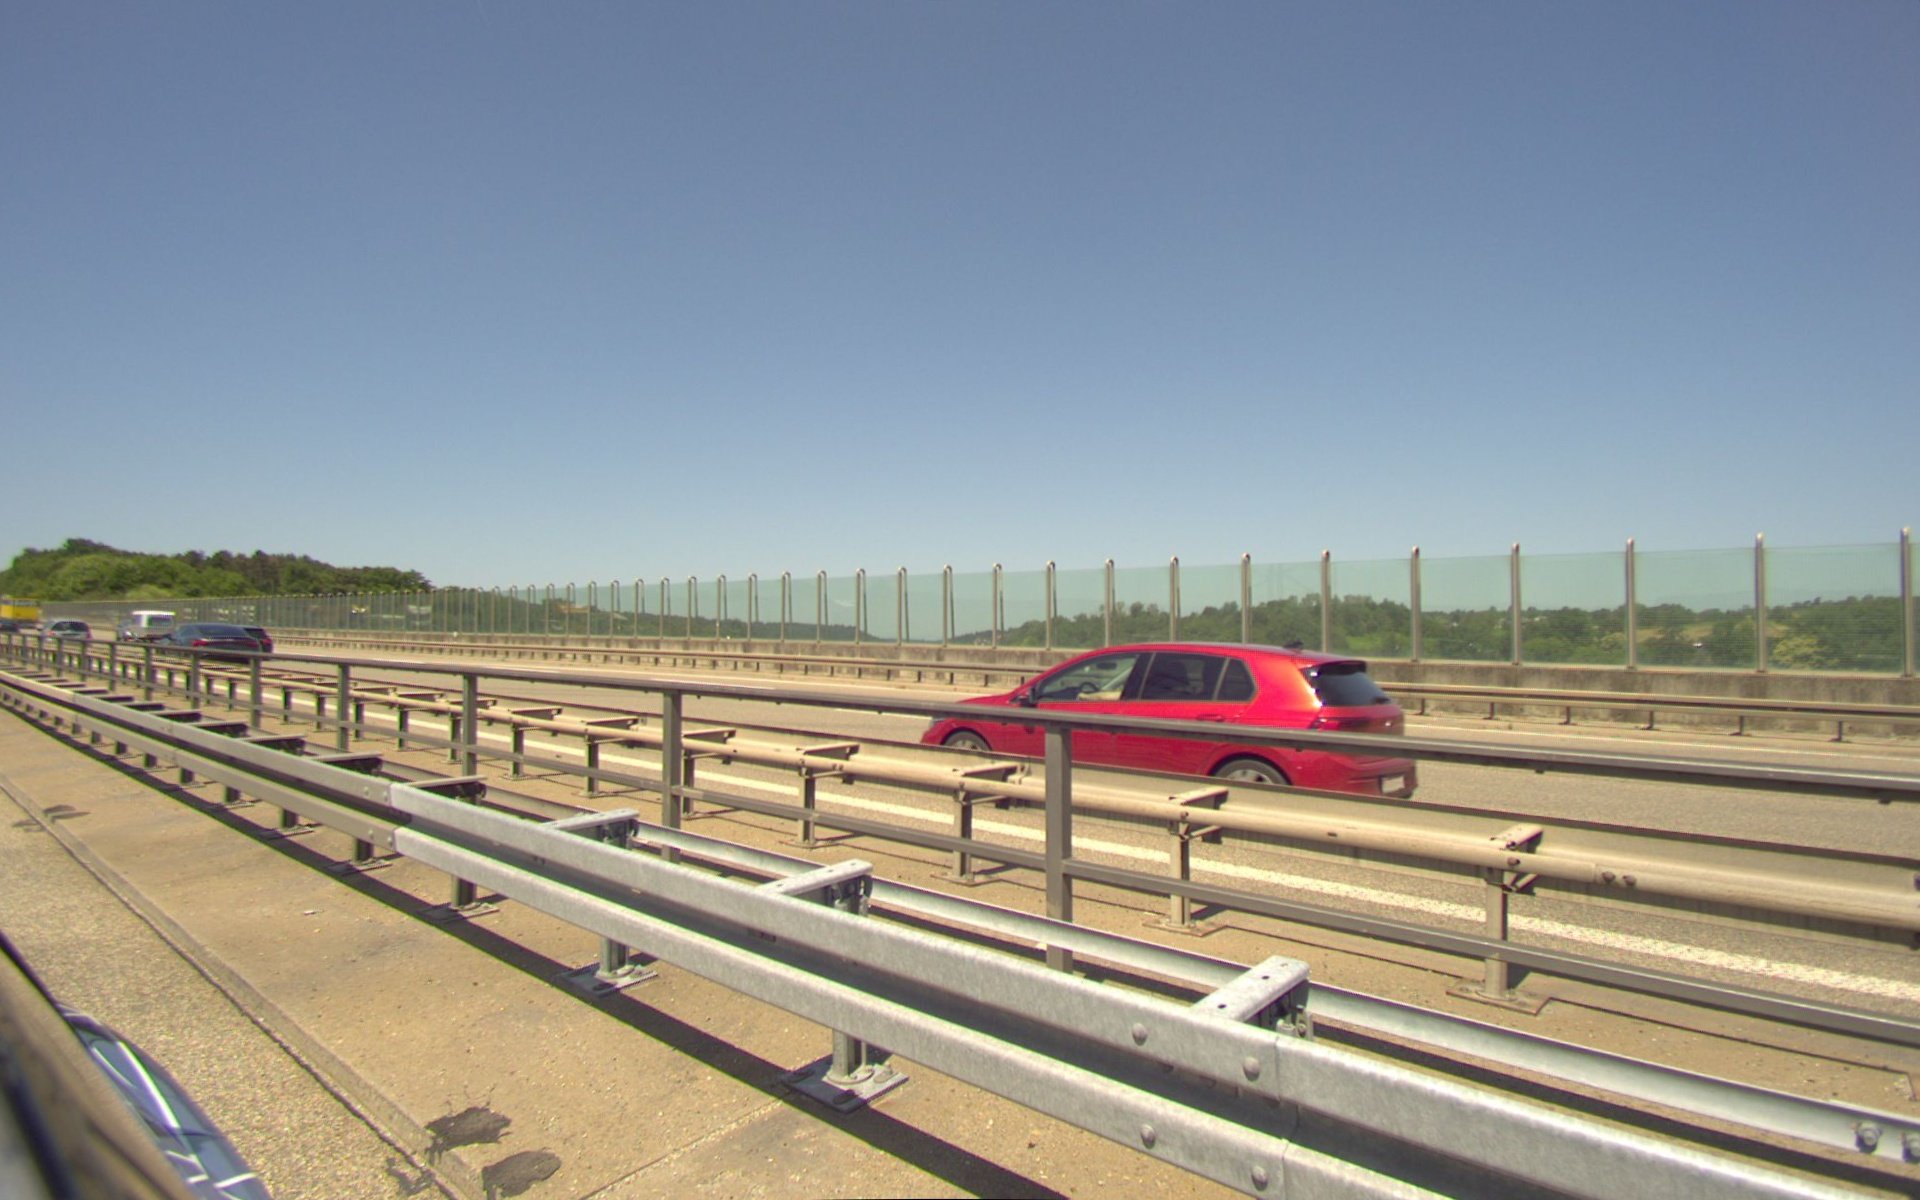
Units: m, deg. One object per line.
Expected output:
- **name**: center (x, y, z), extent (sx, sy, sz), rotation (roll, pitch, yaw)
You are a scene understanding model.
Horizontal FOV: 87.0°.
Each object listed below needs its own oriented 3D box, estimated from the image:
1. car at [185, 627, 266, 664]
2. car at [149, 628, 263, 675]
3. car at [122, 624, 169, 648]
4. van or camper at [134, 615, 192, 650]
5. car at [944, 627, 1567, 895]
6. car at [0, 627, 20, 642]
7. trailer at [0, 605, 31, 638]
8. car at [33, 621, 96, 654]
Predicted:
- **car**: center (-30.517, 1.867, 42.005), extent (4.261, 1.396, 1.782), rotation (0, -2, 41)
- **car**: center (-22.831, 1.510, 30.597), extent (4.369, 1.325, 1.877), rotation (-1, -3, 41)
- **car**: center (-58.904, 2.587, 73.196), extent (4.198, 1.557, 1.837), rotation (0, -3, 40)
- **van or camper**: center (-55.178, 2.236, 70.032), extent (5.533, 2.228, 1.973), rotation (-1, -4, 41)
- **car**: center (2.117, 0.997, 8.049), extent (4.416, 1.457, 1.823), rotation (0, 0, 41)
- **car**: center (-92.273, 3.339, 97.685), extent (4.673, 1.408, 1.836), rotation (-1, -3, 42)
- **trailer**: center (-121.271, 2.767, 129.548), extent (13.802, 4.094, 2.396), rotation (-1, -3, 43)
- **car**: center (-43.461, 1.804, 49.108), extent (3.556, 1.541, 1.821), rotation (-1, -3, 41)
